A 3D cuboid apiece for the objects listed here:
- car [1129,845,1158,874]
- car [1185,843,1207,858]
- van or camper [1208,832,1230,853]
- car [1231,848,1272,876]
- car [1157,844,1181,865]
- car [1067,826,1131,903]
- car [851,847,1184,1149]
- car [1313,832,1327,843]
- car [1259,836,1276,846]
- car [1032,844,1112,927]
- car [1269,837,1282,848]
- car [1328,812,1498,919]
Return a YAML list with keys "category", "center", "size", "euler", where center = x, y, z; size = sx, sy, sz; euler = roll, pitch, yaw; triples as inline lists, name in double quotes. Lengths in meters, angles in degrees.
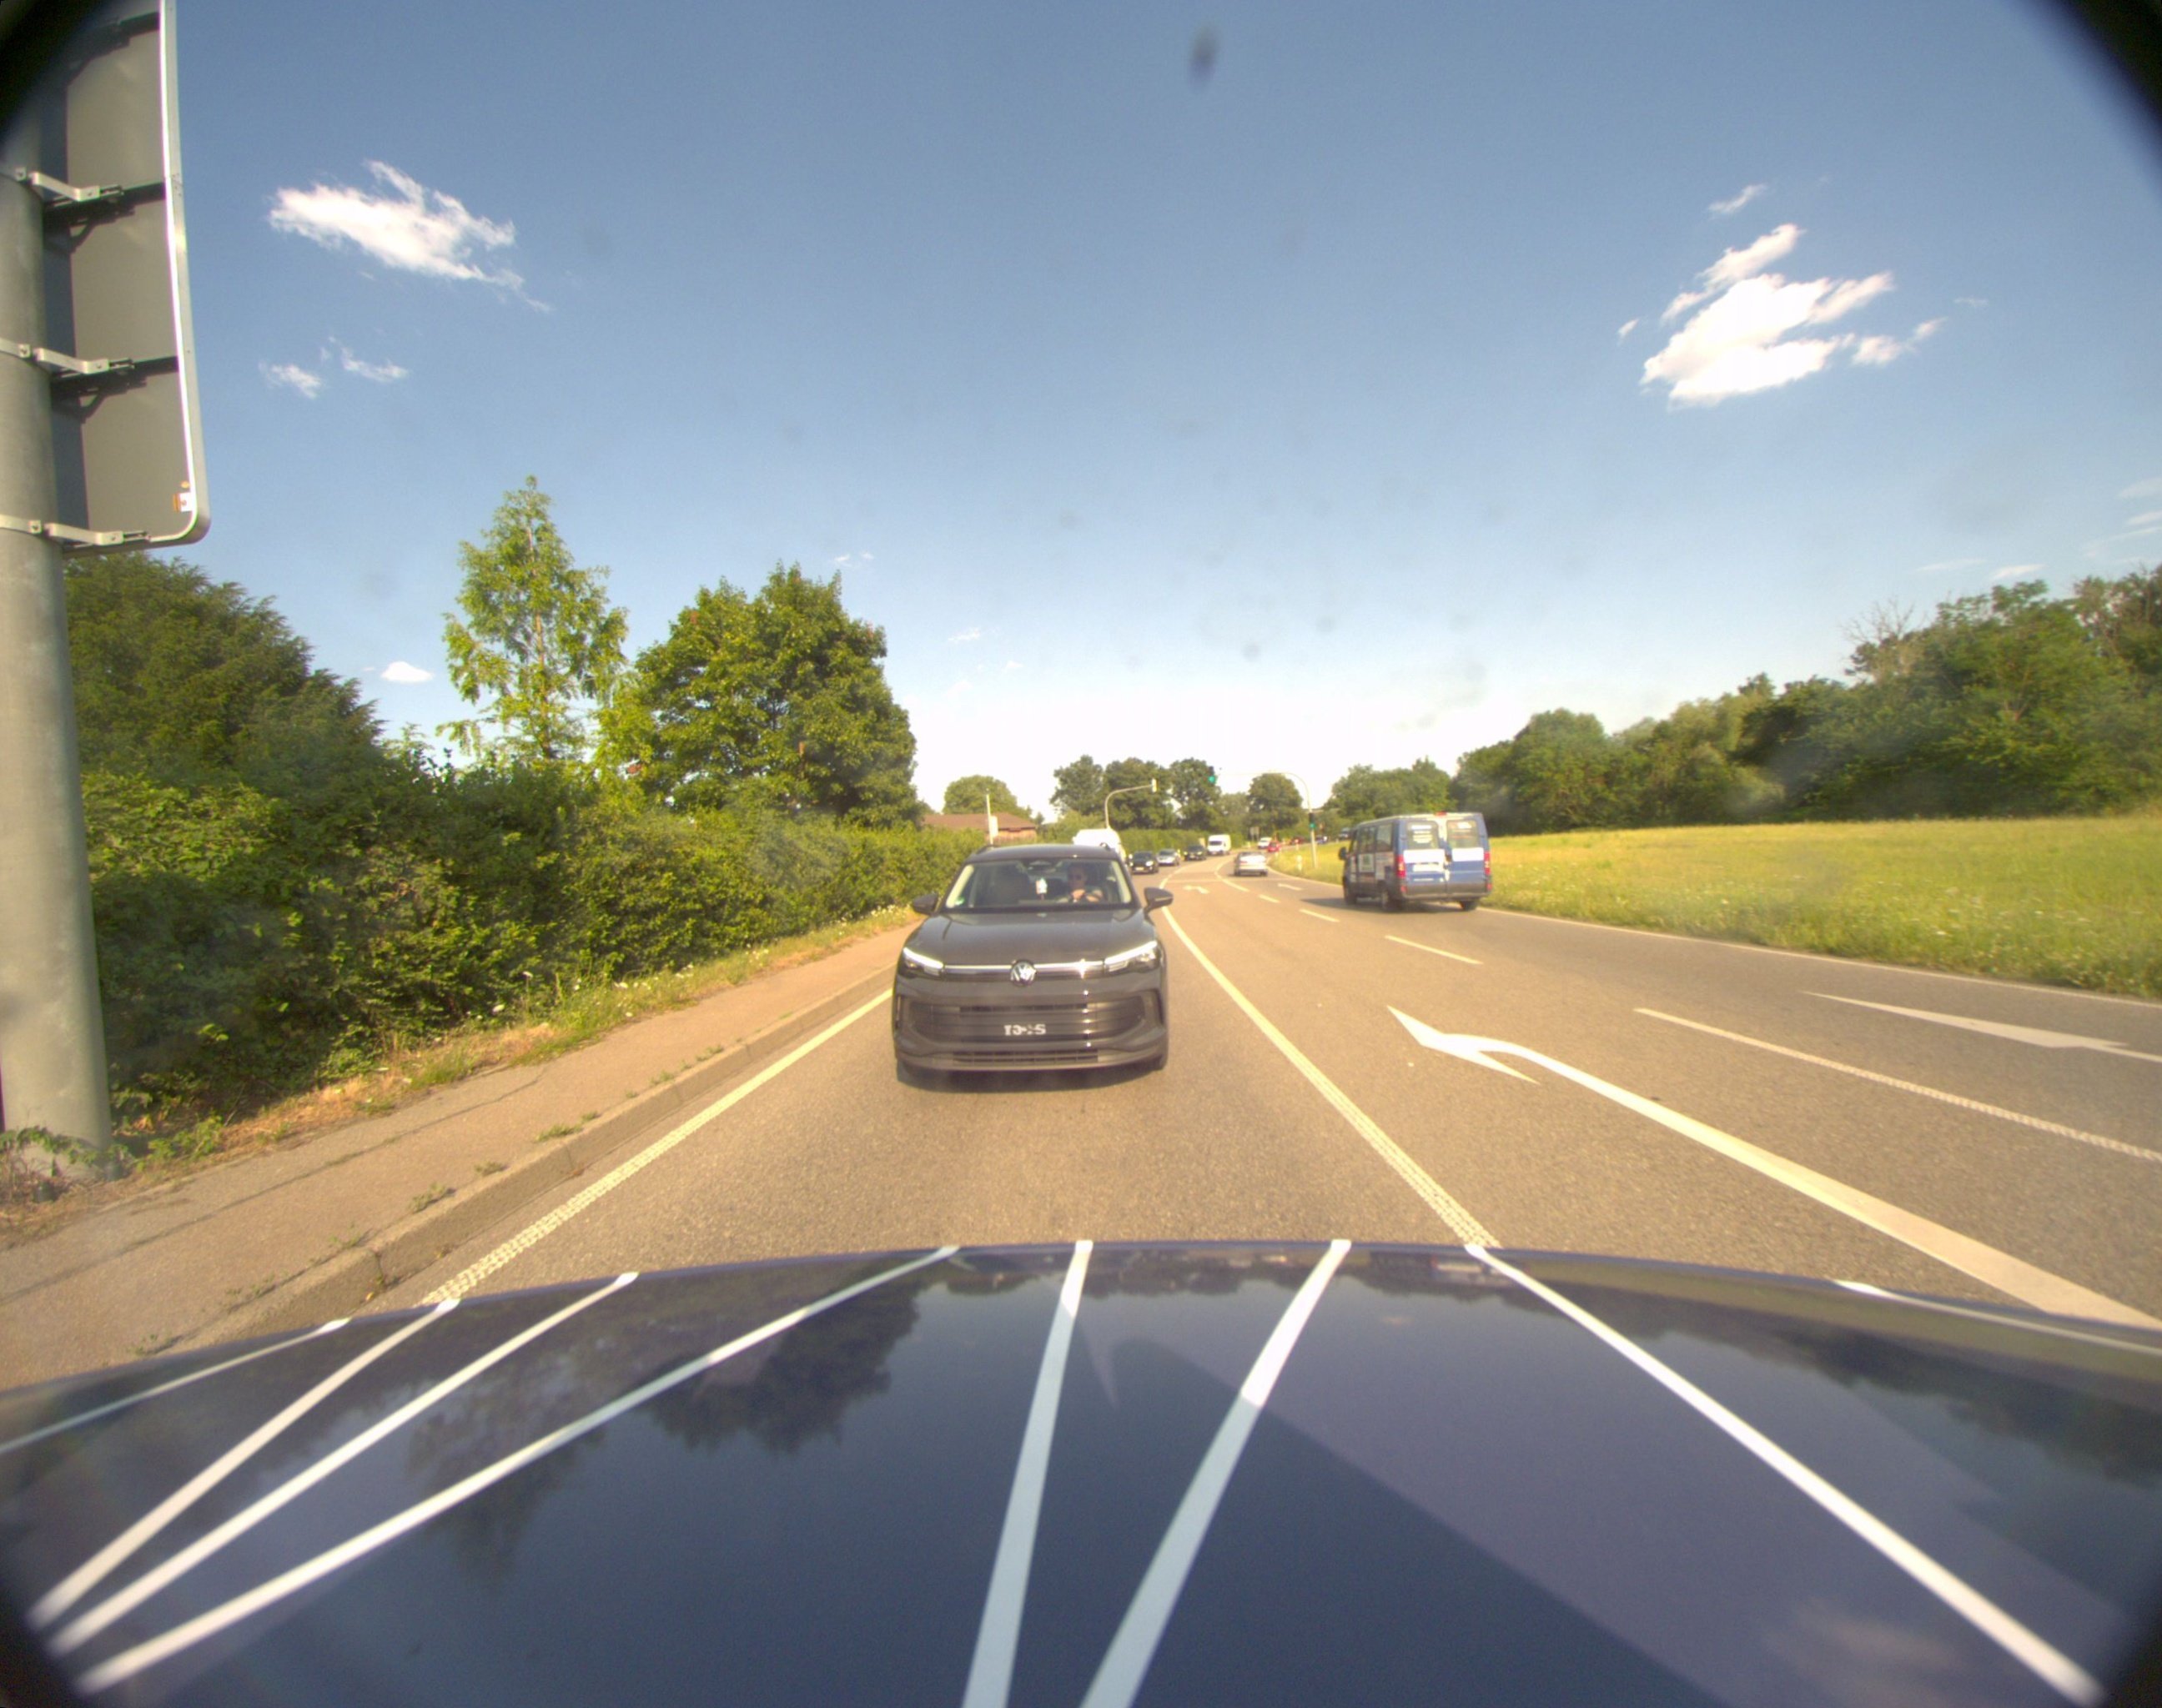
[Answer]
- category: "car"
  center: [4.102, 0.318, 49.471]
  size: [1.672, 1.718, 3.669]
  euler: [0, 2, 9]
- category: "car"
  center: [11.895, -0.407, 78.457]
  size: [1.605, 1.471, 3.621]
  euler: [0, 1, 19]
- category: "van or camper"
  center: [17.443, -1.457, 96.133]
  size: [2.031, 2.461, 5.082]
  euler: [-4, 0, 17]
- category: "car"
  center: [9.449, 0.392, 42.365]
  size: [1.710, 1.420, 4.180]
  euler: [-3, 0, 7]
- category: "car"
  center: [7.436, 0.007, 64.123]
  size: [1.633, 1.550, 3.419]
  euler: [-1, 2, 13]
- category: "car"
  center: [0.704, 0.303, 25.931]
  size: [1.843, 2.338, 4.790]
  euler: [-1, 1, 5]
- category: "car"
  center: [-0.345, 0.814, 6.354]
  size: [1.866, 1.633, 3.999]
  euler: [-1, 2, 0]
- category: "car"
  center: [44.264, -3.022, 140.734]
  size: [1.725, 1.871, 4.343]
  euler: [-1, 0, 28]
- category: "car"
  center: [30.784, -2.155, 125.338]
  size: [1.671, 1.471, 3.500]
  euler: [-4, 1, 31]
- category: "car"
  center: [-0.132, 0.654, 17.979]
  size: [1.659, 1.720, 3.804]
  euler: [-1, 1, 2]
- category: "car"
  center: [26.810, -1.524, 104.798]
  size: [1.587, 1.458, 3.611]
  euler: [-1, 0, 17]
- category: "car"
  center: [7.590, 0.222, 17.977]
  size: [2.003, 2.124, 4.779]
  euler: [-3, 0, 2]
